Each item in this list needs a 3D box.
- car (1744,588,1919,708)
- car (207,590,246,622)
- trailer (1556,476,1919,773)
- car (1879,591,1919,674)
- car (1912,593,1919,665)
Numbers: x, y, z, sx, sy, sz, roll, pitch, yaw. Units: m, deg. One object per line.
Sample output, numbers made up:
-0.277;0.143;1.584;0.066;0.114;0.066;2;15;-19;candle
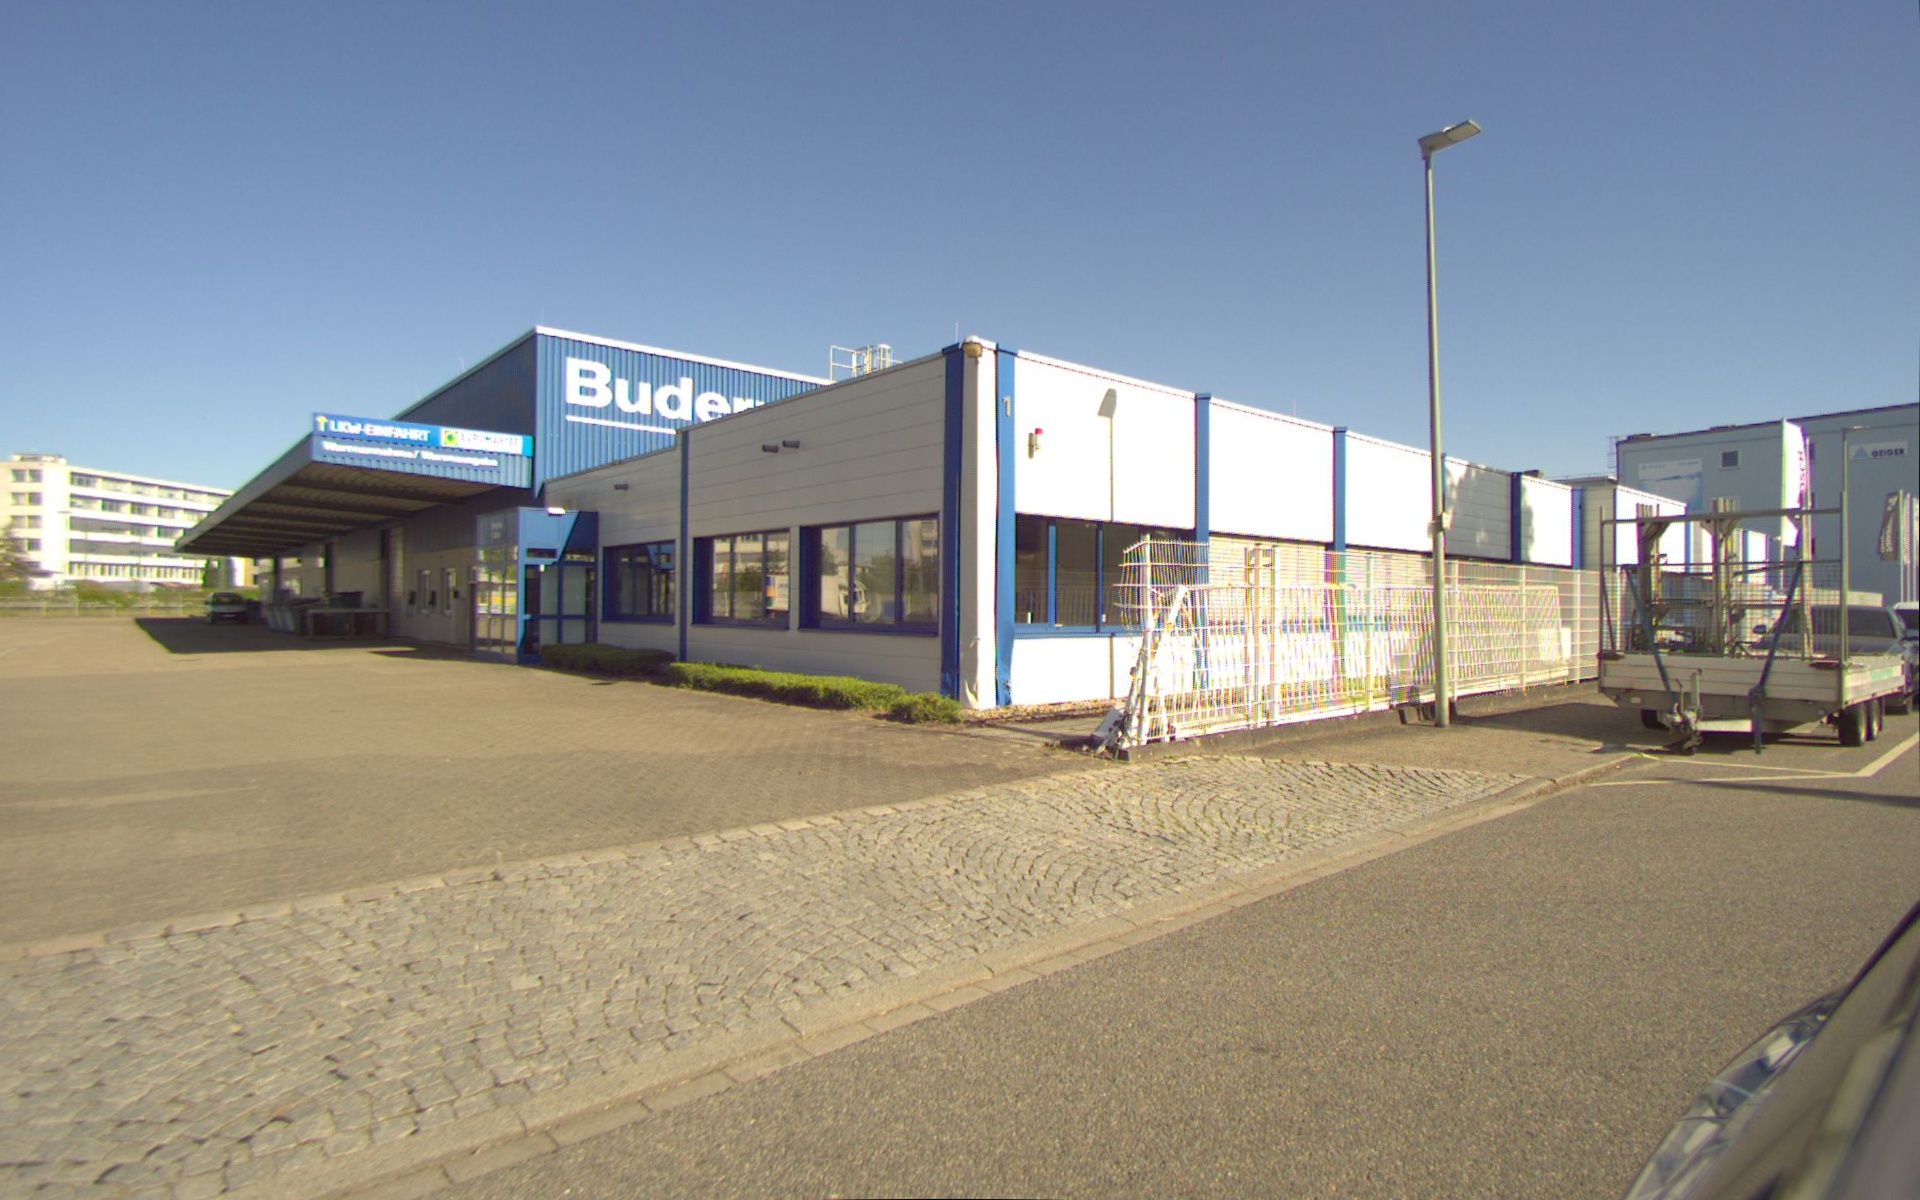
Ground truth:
14.670;0.681;16.546;4.648;1.689;1.997;-1;-1;-41;car
-41.823;0.335;57.693;1.735;1.756;3.478;0;0;-37;car
9.447;0.207;11.998;5.601;2.706;2.464;0;0;-41;trailer
23.481;0.699;23.981;5.077;1.854;1.858;-1;-1;-41;car
27.390;0.703;27.335;5.014;1.871;1.889;-1;-1;-41;car
